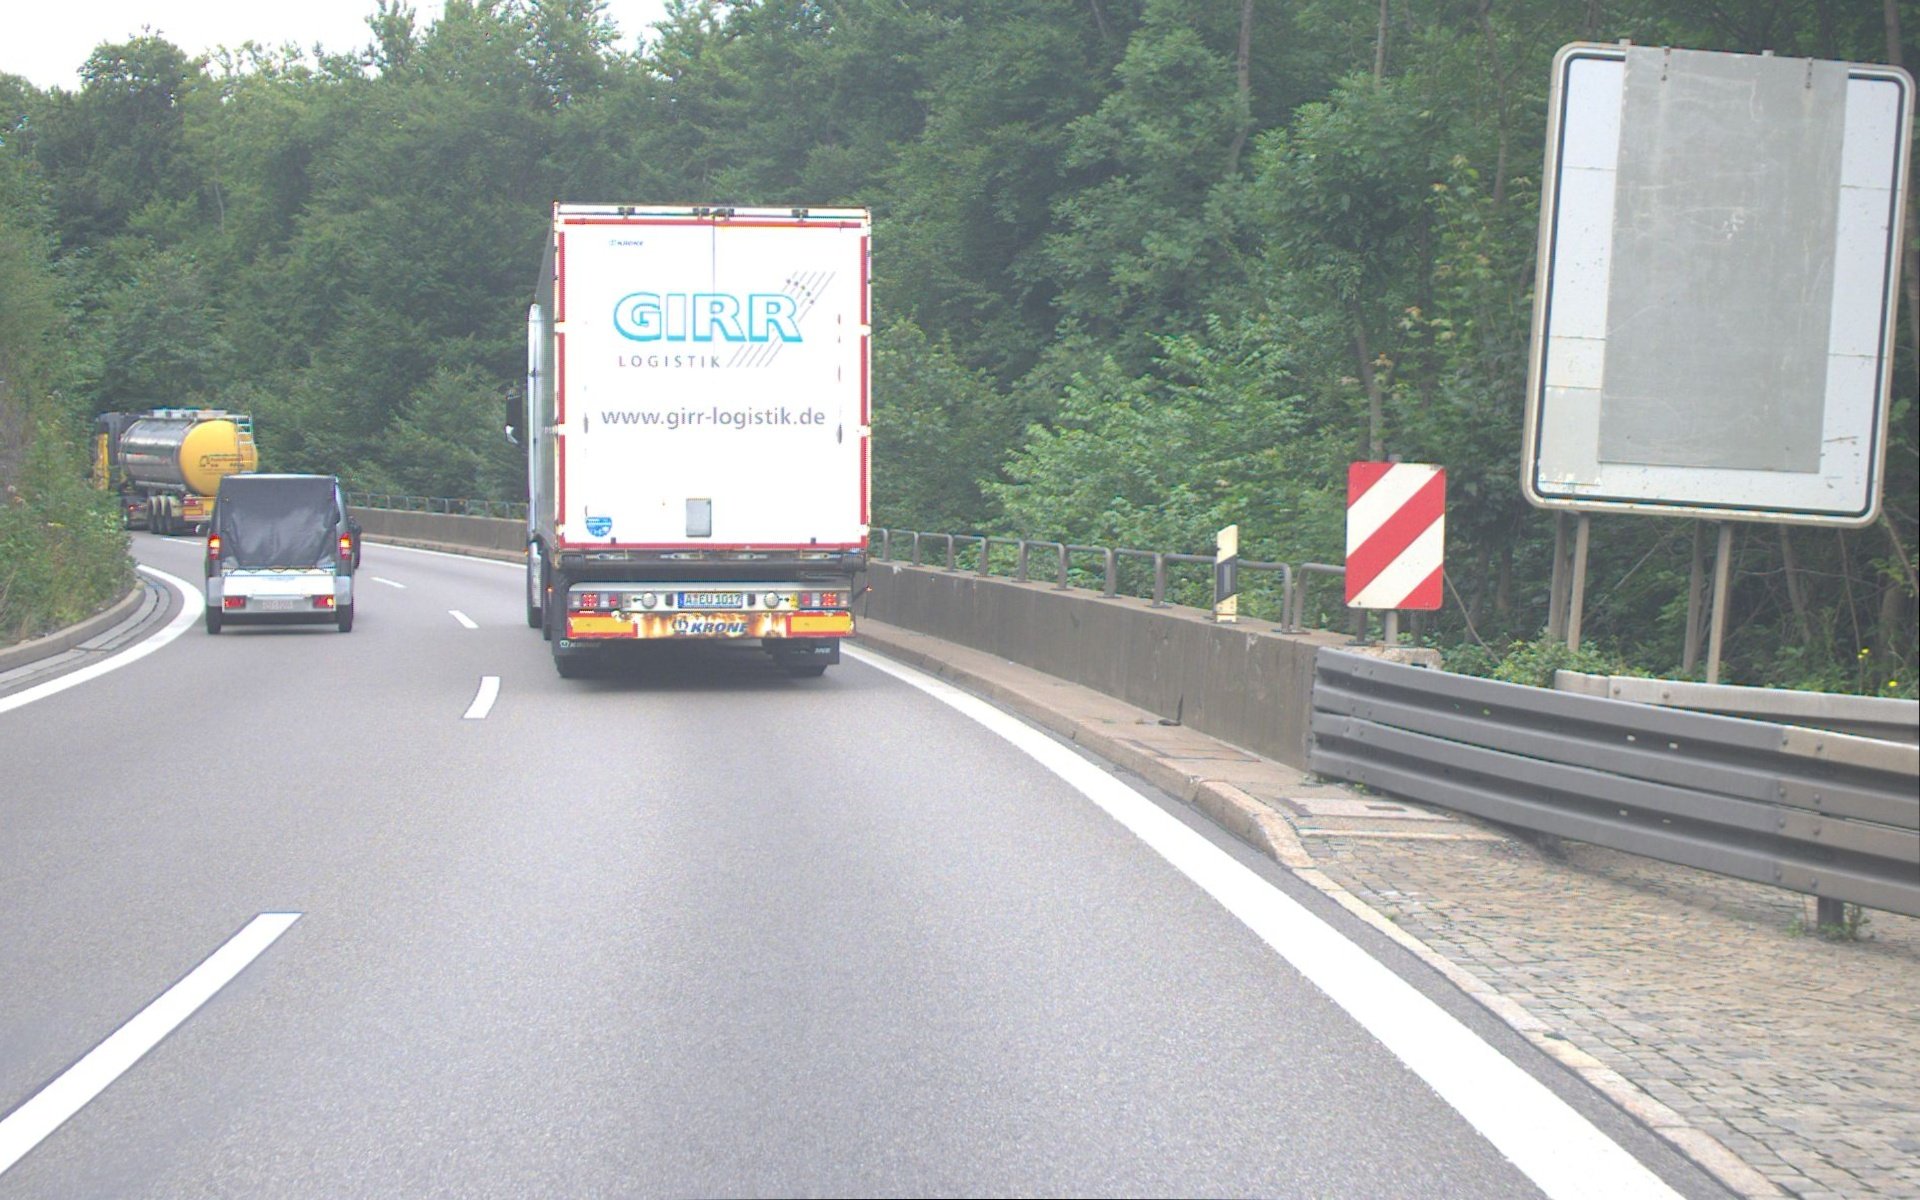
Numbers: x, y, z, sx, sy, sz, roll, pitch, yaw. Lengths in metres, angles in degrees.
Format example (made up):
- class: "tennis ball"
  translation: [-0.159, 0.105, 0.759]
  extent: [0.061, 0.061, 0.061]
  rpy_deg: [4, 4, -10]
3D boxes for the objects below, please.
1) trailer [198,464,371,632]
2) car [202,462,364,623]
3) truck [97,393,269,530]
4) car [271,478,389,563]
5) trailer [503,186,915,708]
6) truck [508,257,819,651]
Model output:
- class: "trailer"
  translation: [-8.196, -0.634, 41.784]
  extent: [1.970, 1.933, 3.431]
  rpy_deg: [0, 1, -11]
- class: "car"
  translation: [-9.047, -0.776, 46.196]
  extent: [1.993, 2.007, 5.542]
  rpy_deg: [0, 1, -10]
- class: "truck"
  translation: [-24.156, -4.203, 106.263]
  extent: [3.057, 3.972, 13.702]
  rpy_deg: [-1, 2, -22]
- class: "car"
  translation: [-13.494, -1.711, 73.480]
  extent: [1.993, 1.656, 4.002]
  rpy_deg: [2, 1, -17]
- class: "trailer"
  translation: [-2.718, -1.525, 33.178]
  extent: [3.057, 3.972, 12.141]
  rpy_deg: [3, 3, -7]
- class: "truck"
  translation: [-3.538, -1.711, 39.587]
  extent: [3.057, 3.972, 7.190]
  rpy_deg: [3, 3, -7]
